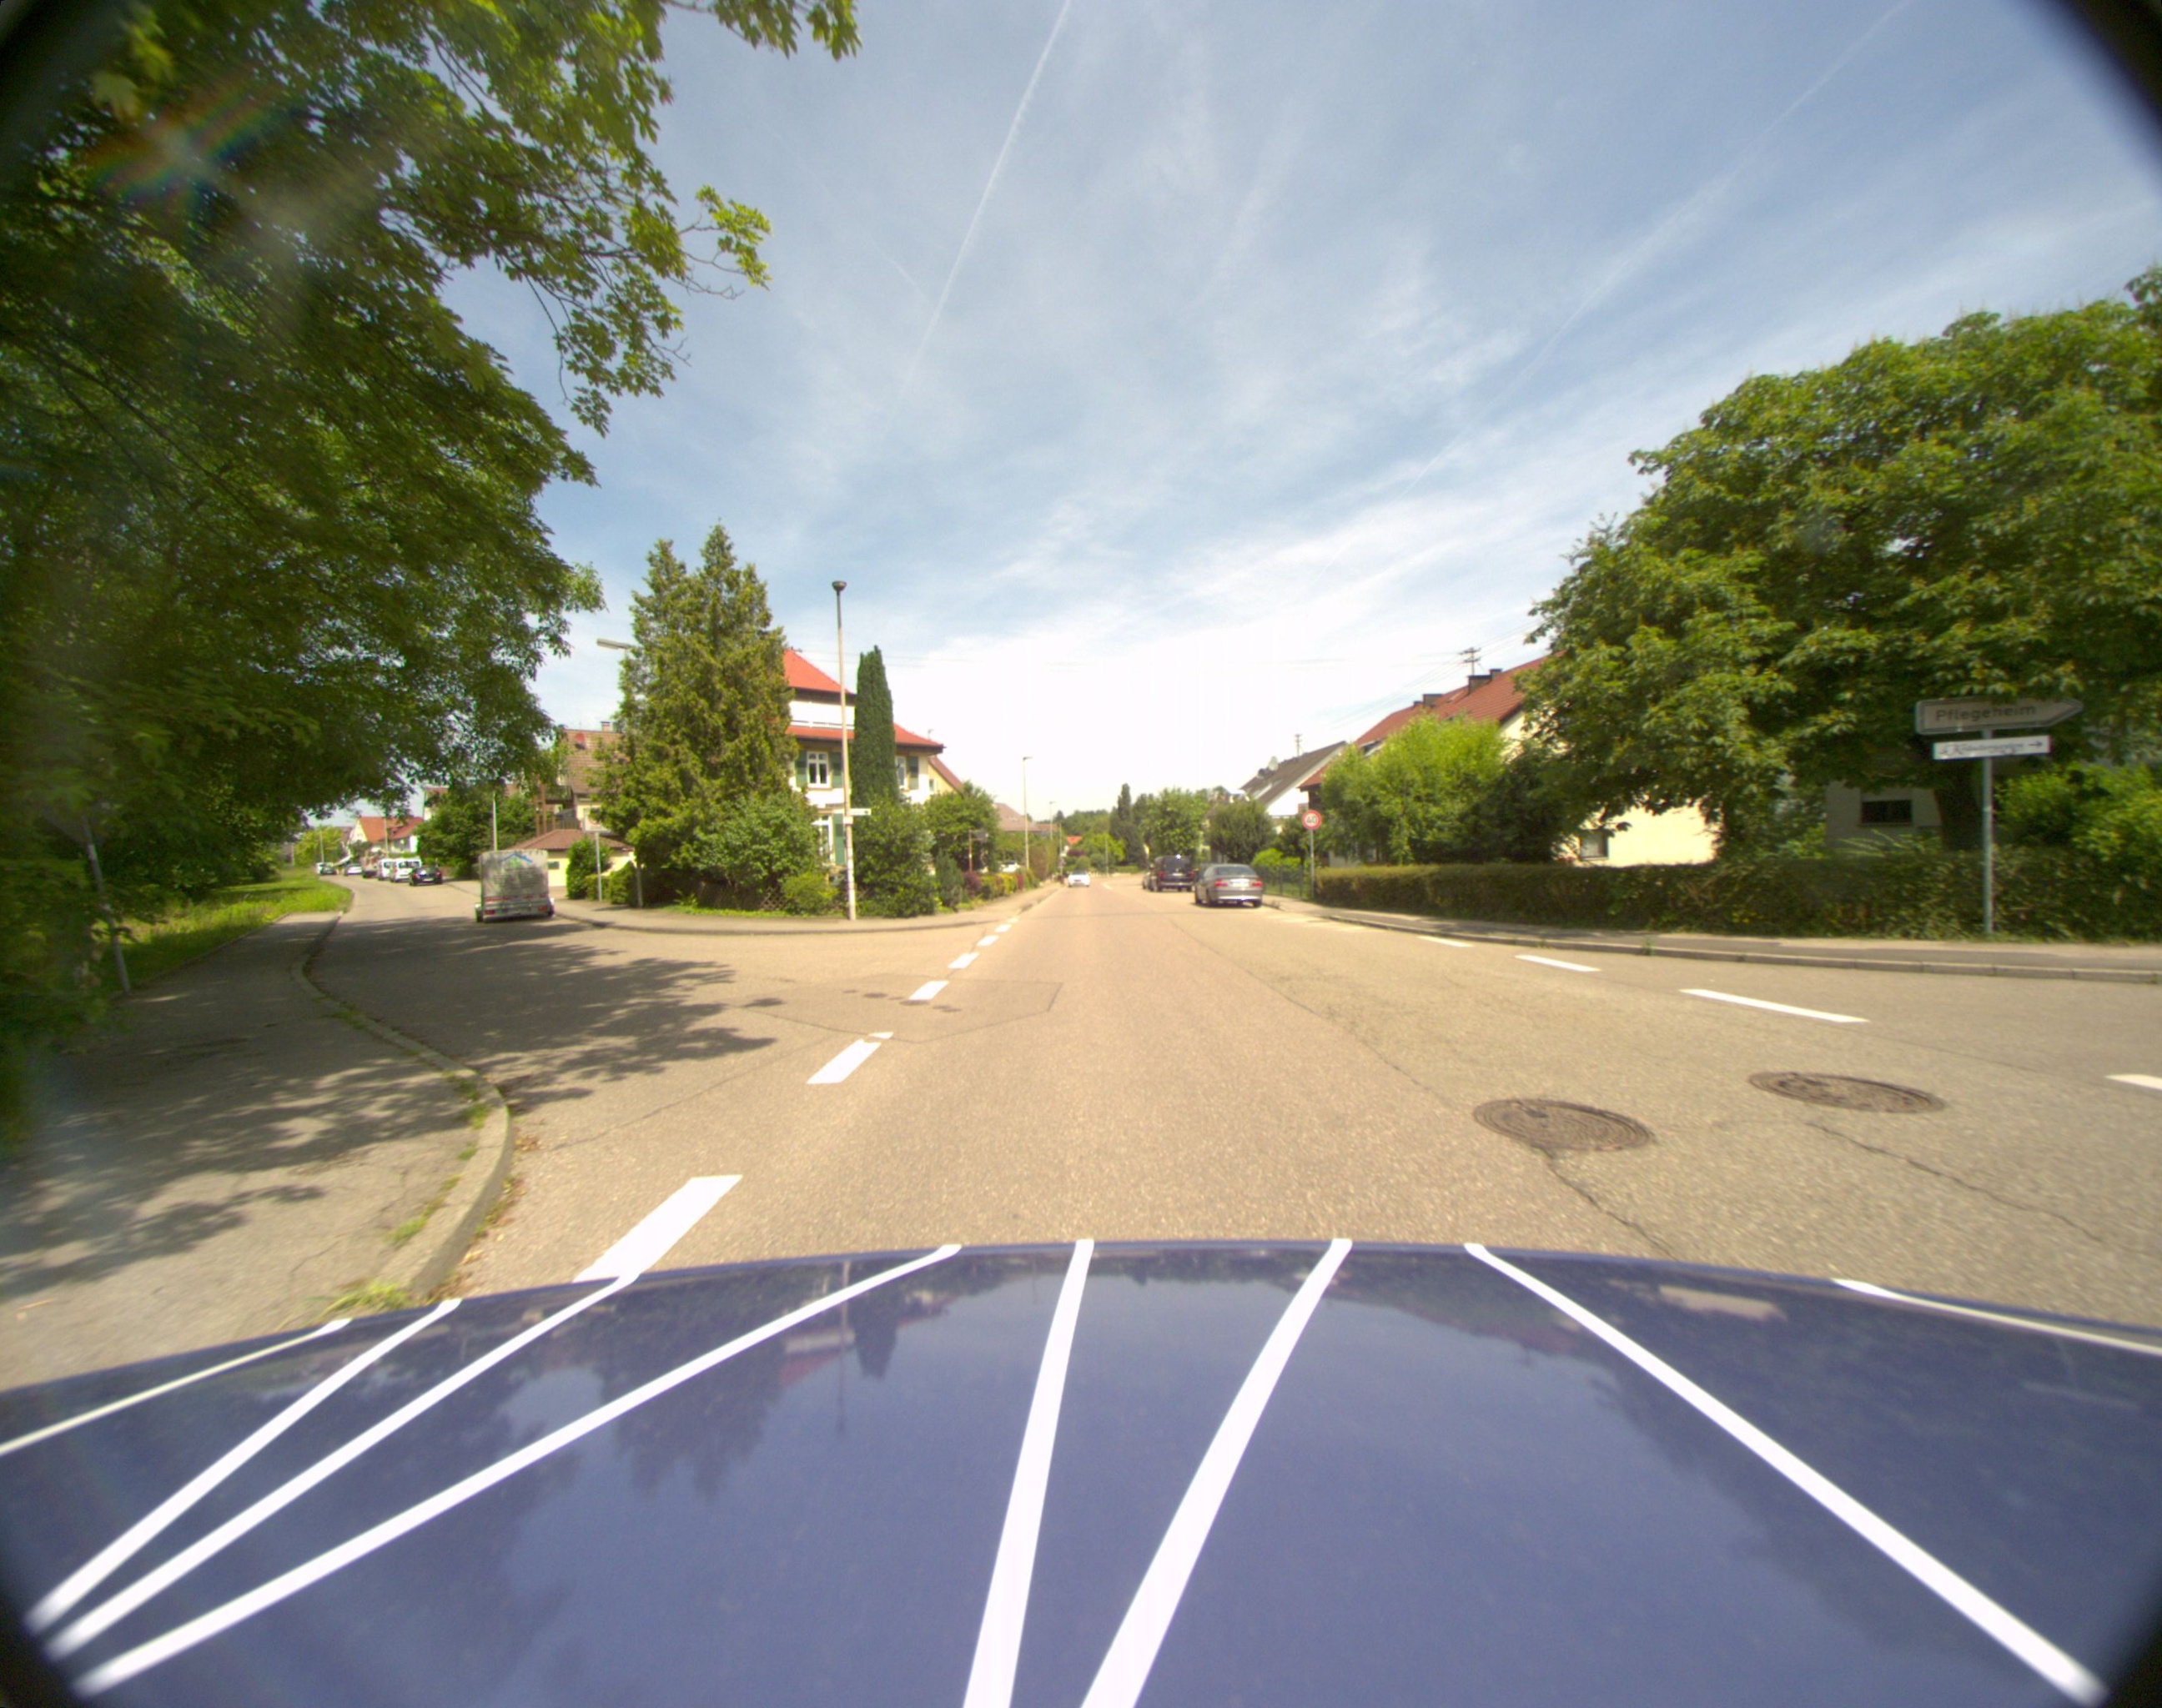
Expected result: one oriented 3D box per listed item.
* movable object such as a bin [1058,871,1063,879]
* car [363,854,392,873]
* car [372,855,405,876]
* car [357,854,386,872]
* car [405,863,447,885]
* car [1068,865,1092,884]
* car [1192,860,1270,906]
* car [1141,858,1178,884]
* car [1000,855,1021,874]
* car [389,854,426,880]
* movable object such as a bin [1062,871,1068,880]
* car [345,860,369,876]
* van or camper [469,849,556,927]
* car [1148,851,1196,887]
[{"bbox_3d":[-2.656,2.697,97.055,0.589,1.052,0.920,-1,-1,3],"label":"movable object such as a bin"},{"bbox_3d":[-72.927,1.028,78.753,3.888,1.839,1.851,-2,1,42],"label":"car"},{"bbox_3d":[-64.908,1.075,71.202,3.888,1.839,1.851,-2,1,42],"label":"car"},{"bbox_3d":[-76.325,1.008,81.734,3.888,1.839,1.851,-2,1,42],"label":"car"},{"bbox_3d":[-49.358,1.527,57.203,3.888,1.568,1.851,-2,0,42],"label":"car"},{"bbox_3d":[-0.120,1.779,65.829,1.827,1.543,3.999,-2,0,-2],"label":"car"},{"bbox_3d":[4.944,0.909,25.608,1.784,1.386,4.409,-1,0,0],"label":"car"},{"bbox_3d":[5.130,1.126,50.259,1.816,1.540,4.243,-2,-1,-2],"label":"car"},{"bbox_3d":[-6.454,0.977,69.691,1.609,1.474,3.557,-2,3,0],"label":"car"},{"bbox_3d":[-57.745,1.117,65.129,3.888,2.069,1.851,-2,1,42],"label":"car"},{"bbox_3d":[-1.692,2.306,80.429,0.590,0.972,0.786,1,-1,0],"label":"movable object such as a bin"},{"bbox_3d":[-91.381,1.758,95.894,3.888,1.839,1.851,-2,1,42],"label":"car"},{"bbox_3d":[-17.644,0.981,23.514,1.822,2.128,3.379,-6,3,-40],"label":"van or camper"},{"bbox_3d":[5.032,0.837,42.666,1.901,1.908,4.870,0,-1,-2],"label":"car"}]
